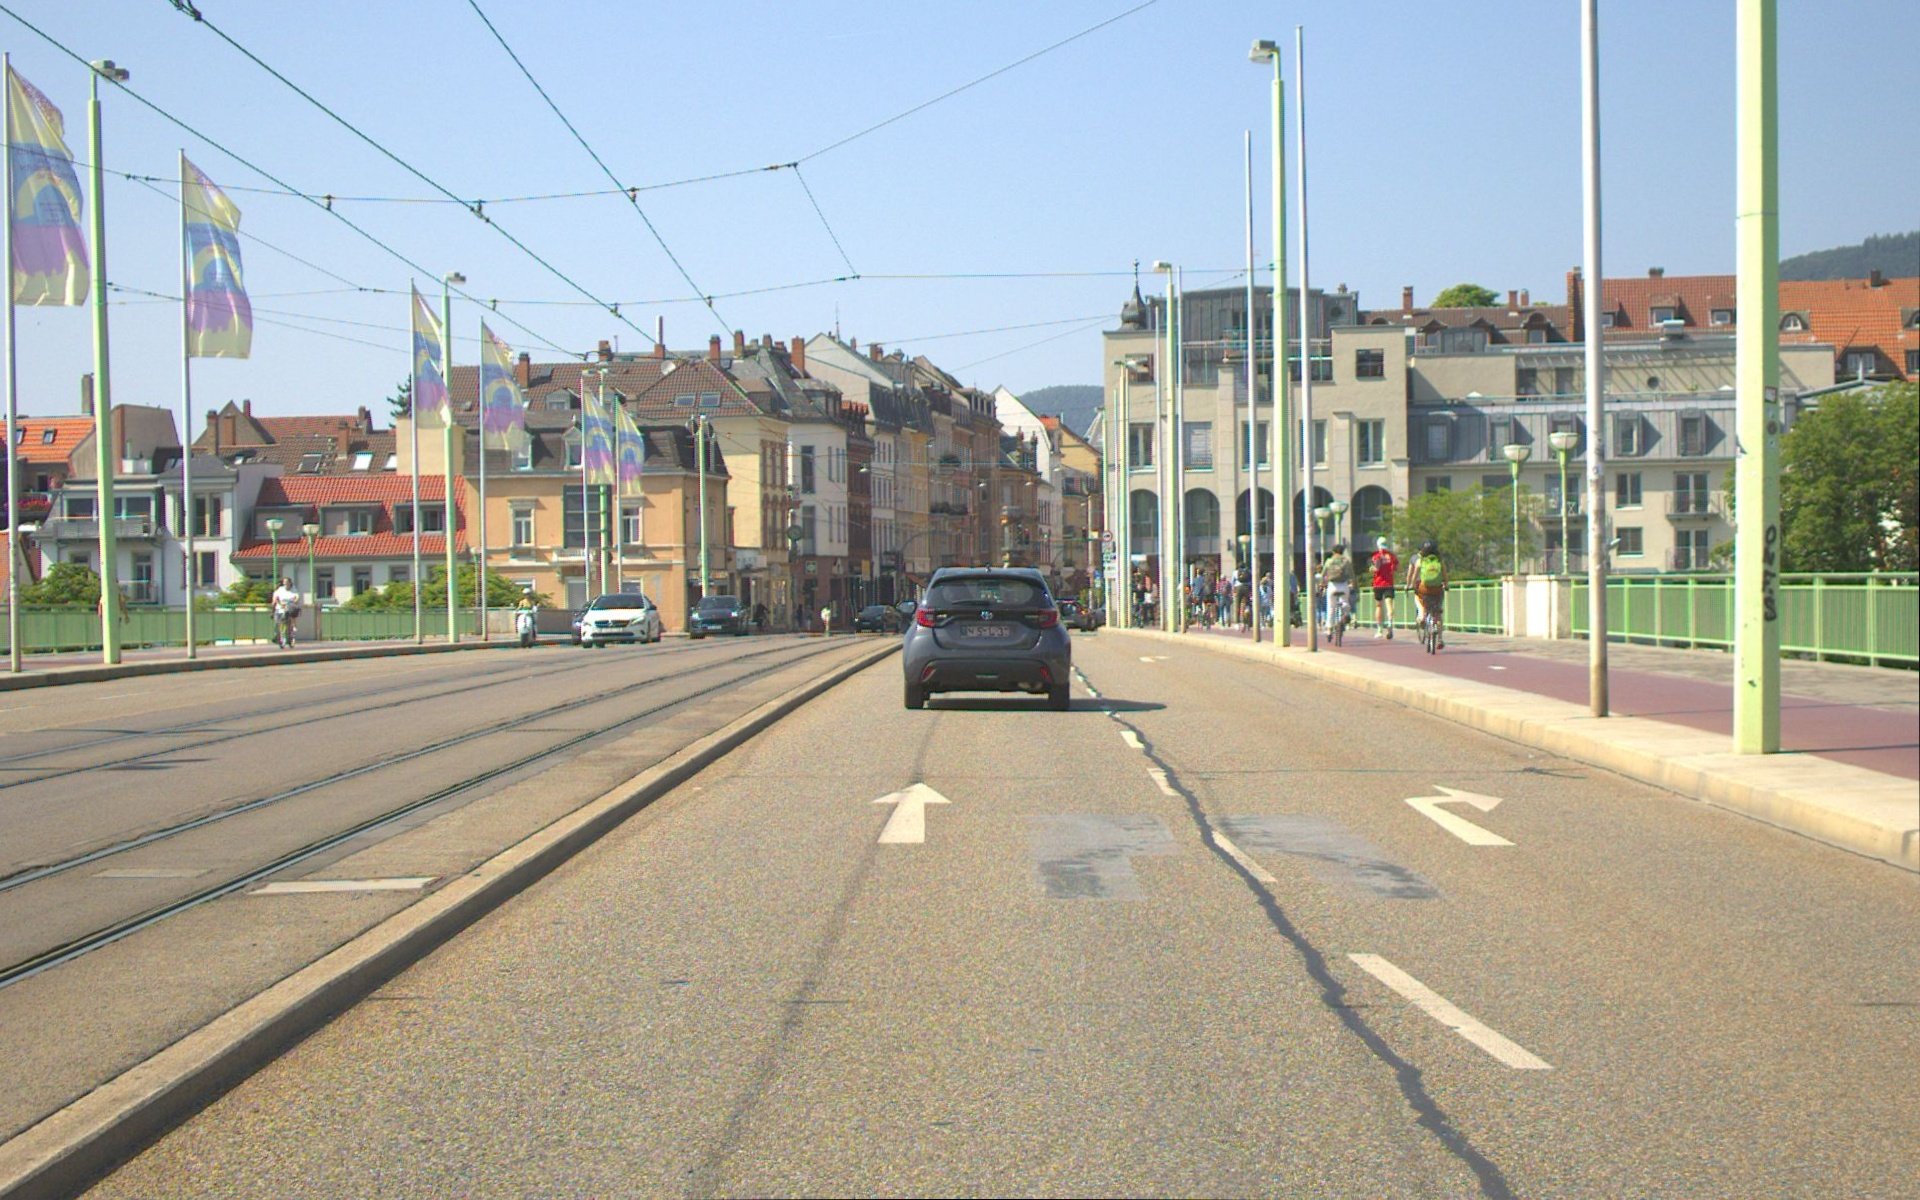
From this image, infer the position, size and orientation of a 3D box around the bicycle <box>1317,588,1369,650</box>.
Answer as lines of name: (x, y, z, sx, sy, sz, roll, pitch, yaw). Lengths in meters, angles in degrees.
bicycle: (6.544, 0.318, 58.850, 0.618, 1.034, 2.051, -1, 0, -1)

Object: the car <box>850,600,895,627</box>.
car: (-5.003, 0.792, 197.845, 1.994, 1.474, 3.999, -1, 0, 7)

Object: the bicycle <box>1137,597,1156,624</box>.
bicycle: (6.907, 0.405, 127.595, 0.653, 0.978, 2.178, -2, 0, 3)

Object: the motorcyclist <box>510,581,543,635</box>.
motorcyclist: (-12.729, 0.239, 100.990, 0.827, 1.568, 0.832, -1, 0, 0)

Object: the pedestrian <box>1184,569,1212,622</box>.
pedestrian: (7.687, -0.143, 110.855, 0.834, 1.683, 0.869, -1, 1, 1)

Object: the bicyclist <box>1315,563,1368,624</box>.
bicyclist: (6.536, -0.110, 58.951, 0.735, 1.027, 1.175, -1, 0, -1)

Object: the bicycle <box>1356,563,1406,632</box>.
bicycle: (7.915, -0.049, 64.693, 0.618, 1.266, 2.216, -1, 0, -1)

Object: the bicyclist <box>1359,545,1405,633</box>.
bicyclist: (7.940, -0.206, 64.664, 0.735, 1.630, 0.867, -1, 0, -1)

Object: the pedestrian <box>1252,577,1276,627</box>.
pedestrian: (8.919, 0.059, 100.925, 0.613, 1.461, 0.848, -1, 0, 1)

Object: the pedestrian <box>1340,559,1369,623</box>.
pedestrian: (9.851, -0.225, 85.919, 0.599, 1.580, 0.867, -1, 0, -1)

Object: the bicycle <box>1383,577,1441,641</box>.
bicycle: (7.536, 0.145, 57.359, 0.618, 1.034, 2.266, -1, 0, -1)

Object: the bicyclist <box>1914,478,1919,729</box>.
bicyclist: (7.004, 0.026, 23.307, 0.673, 1.738, 1.150, -1, 1, -4)

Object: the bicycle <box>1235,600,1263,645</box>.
bicycle: (7.705, 0.583, 91.639, 0.526, 1.174, 2.029, -1, 0, -1)

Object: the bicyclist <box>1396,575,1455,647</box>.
bicyclist: (6.871, 0.157, 50.817, 0.666, 1.041, 0.980, -1, 0, -4)

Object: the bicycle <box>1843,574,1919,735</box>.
bicycle: (7.024, 0.381, 23.468, 0.792, 1.092, 3.745, -1, 1, -4)

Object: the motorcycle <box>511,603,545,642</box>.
motorcycle: (-12.672, 0.644, 100.850, 0.701, 1.106, 2.179, -1, 0, 0)

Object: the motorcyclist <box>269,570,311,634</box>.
motorcyclist: (-16.222, 0.043, 83.232, 0.800, 1.544, 1.069, -1, 0, 0)

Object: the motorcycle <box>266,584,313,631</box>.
motorcycle: (-16.223, 0.165, 83.271, 0.701, 1.106, 2.179, -1, 0, 0)

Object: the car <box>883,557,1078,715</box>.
car: (0.164, 0.341, 36.884, 1.910, 1.535, 4.000, -1, 1, -2)

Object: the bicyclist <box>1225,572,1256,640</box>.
bicyclist: (7.002, 0.139, 85.720, 0.656, 1.670, 0.869, -1, 0, -2)

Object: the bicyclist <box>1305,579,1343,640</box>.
bicyclist: (6.653, 0.175, 62.821, 0.599, 1.098, 0.852, -1, 0, 11)

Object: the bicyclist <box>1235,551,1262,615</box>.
bicyclist: (7.663, -0.450, 91.341, 0.627, 1.684, 0.869, -1, 0, -1)

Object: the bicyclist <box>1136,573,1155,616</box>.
bicyclist: (6.876, -0.186, 127.569, 0.653, 1.561, 1.337, -2, -1, 3)

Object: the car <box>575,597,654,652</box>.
car: (-9.382, 0.640, 93.120, 1.993, 1.404, 4.548, -1, 0, -7)

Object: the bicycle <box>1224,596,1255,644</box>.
bicycle: (6.972, 0.488, 85.784, 0.593, 1.174, 1.940, -1, 0, -1)

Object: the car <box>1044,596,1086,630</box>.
car: (4.841, 0.566, 157.594, 1.804, 1.464, 4.000, -2, 0, 3)

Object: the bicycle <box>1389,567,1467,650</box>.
bicycle: (6.850, 0.126, 50.426, 0.695, 1.189, 2.079, -1, 0, -4)

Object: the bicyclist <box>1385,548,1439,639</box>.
bicyclist: (7.533, -0.110, 57.326, 0.735, 1.495, 0.980, -1, 0, -1)

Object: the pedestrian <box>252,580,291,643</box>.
pedestrian: (-19.103, 0.321, 95.358, 0.830, 1.716, 1.094, -1, 0, 1)

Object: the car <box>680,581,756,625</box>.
car: (-9.004, 0.097, 128.380, 1.994, 1.594, 4.336, -1, 0, 8)
